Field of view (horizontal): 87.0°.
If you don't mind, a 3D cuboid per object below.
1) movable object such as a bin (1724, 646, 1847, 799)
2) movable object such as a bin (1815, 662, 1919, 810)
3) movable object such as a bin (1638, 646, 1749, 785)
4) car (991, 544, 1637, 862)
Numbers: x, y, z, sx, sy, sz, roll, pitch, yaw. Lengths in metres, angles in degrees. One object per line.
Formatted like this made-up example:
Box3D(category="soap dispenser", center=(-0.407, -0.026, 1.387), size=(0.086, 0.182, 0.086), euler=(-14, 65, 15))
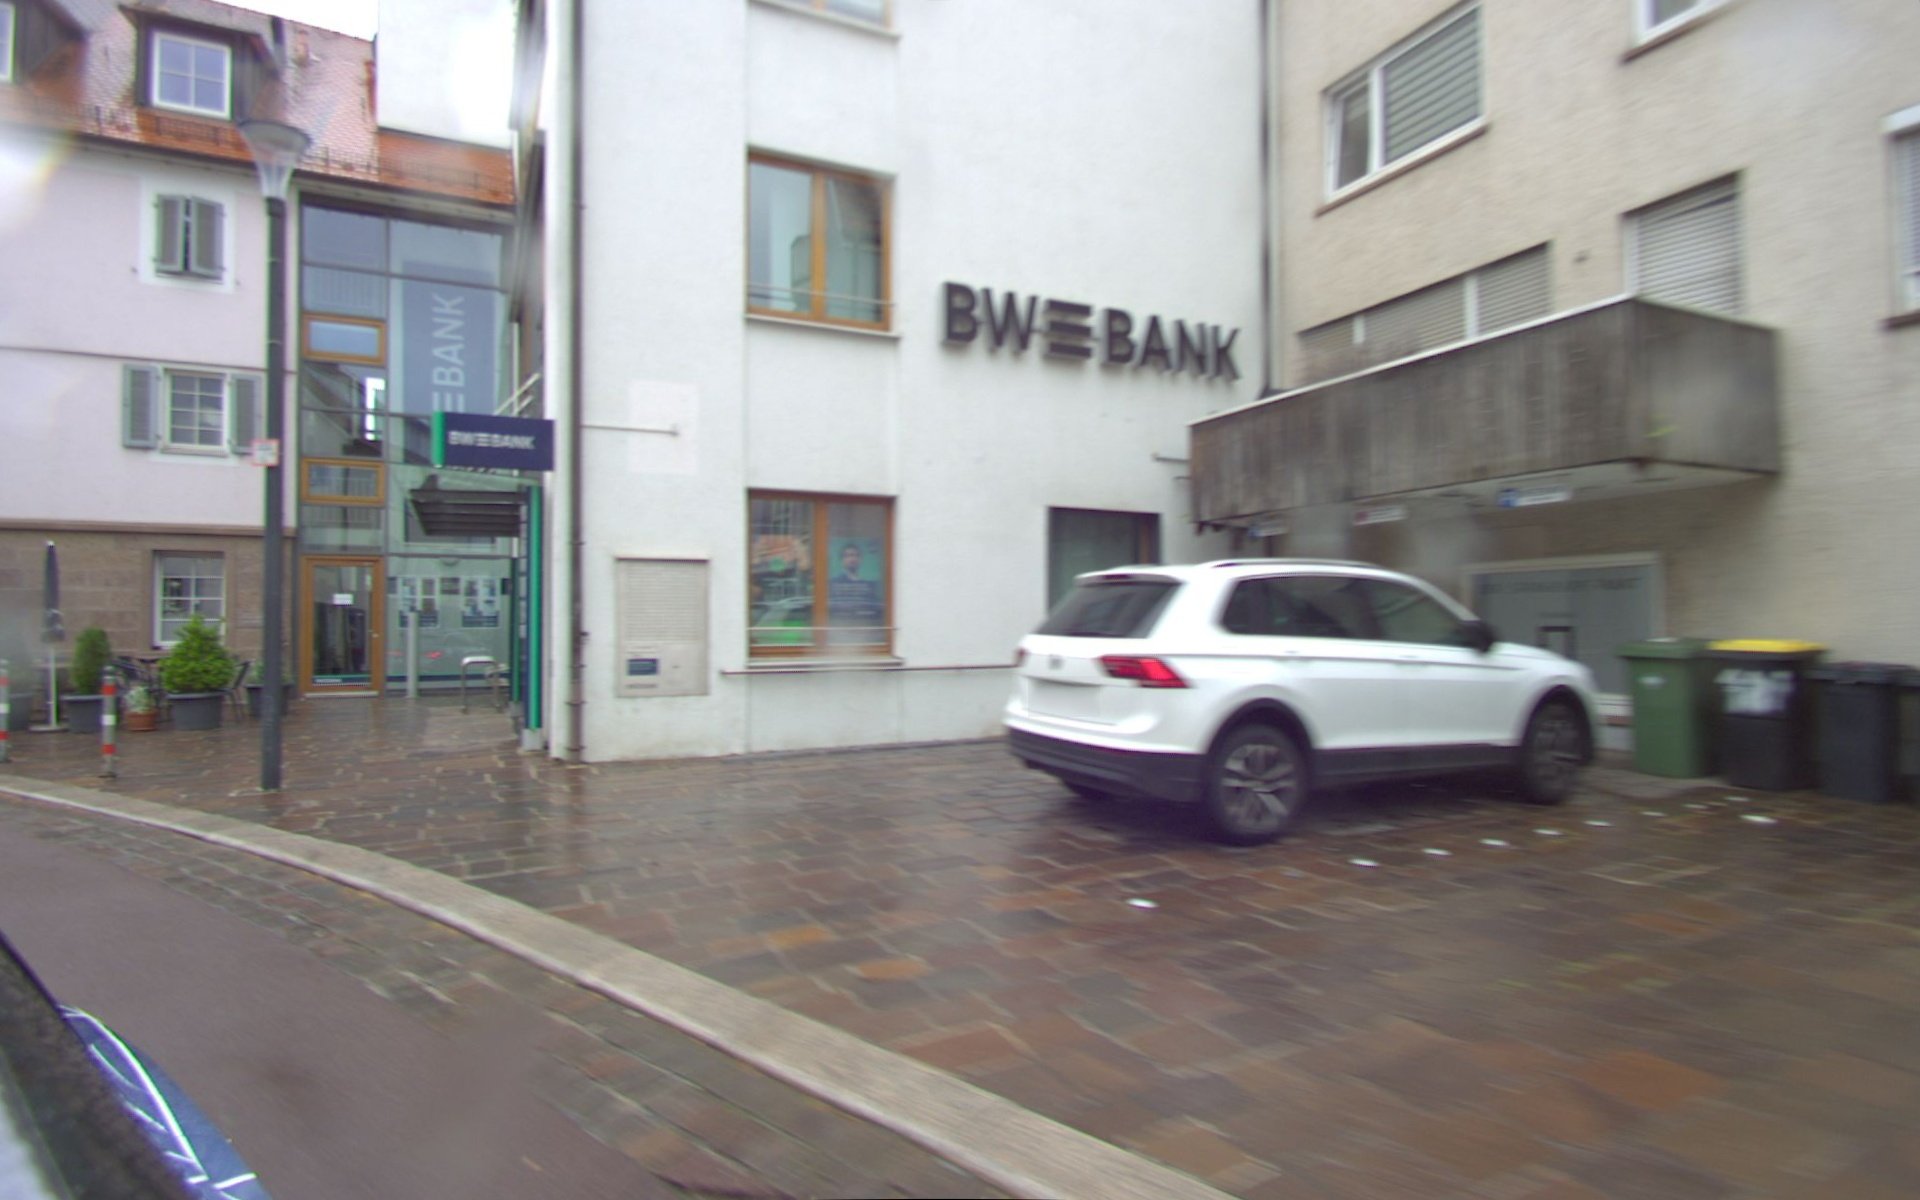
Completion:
Box3D(category="movable object such as a bin", center=(5.945, 0.856, 7.295), size=(0.533, 1.019, 0.532), euler=(1, 0, -31))
Box3D(category="movable object such as a bin", center=(6.274, 0.895, 6.847), size=(0.580, 0.902, 0.568), euler=(1, 0, -28))
Box3D(category="movable object such as a bin", center=(5.675, 0.870, 7.837), size=(0.533, 0.998, 0.532), euler=(1, 0, -31))
Box3D(category="car", center=(2.380, 0.527, 6.765), size=(3.929, 1.595, 1.839), euler=(1, 0, -26))
